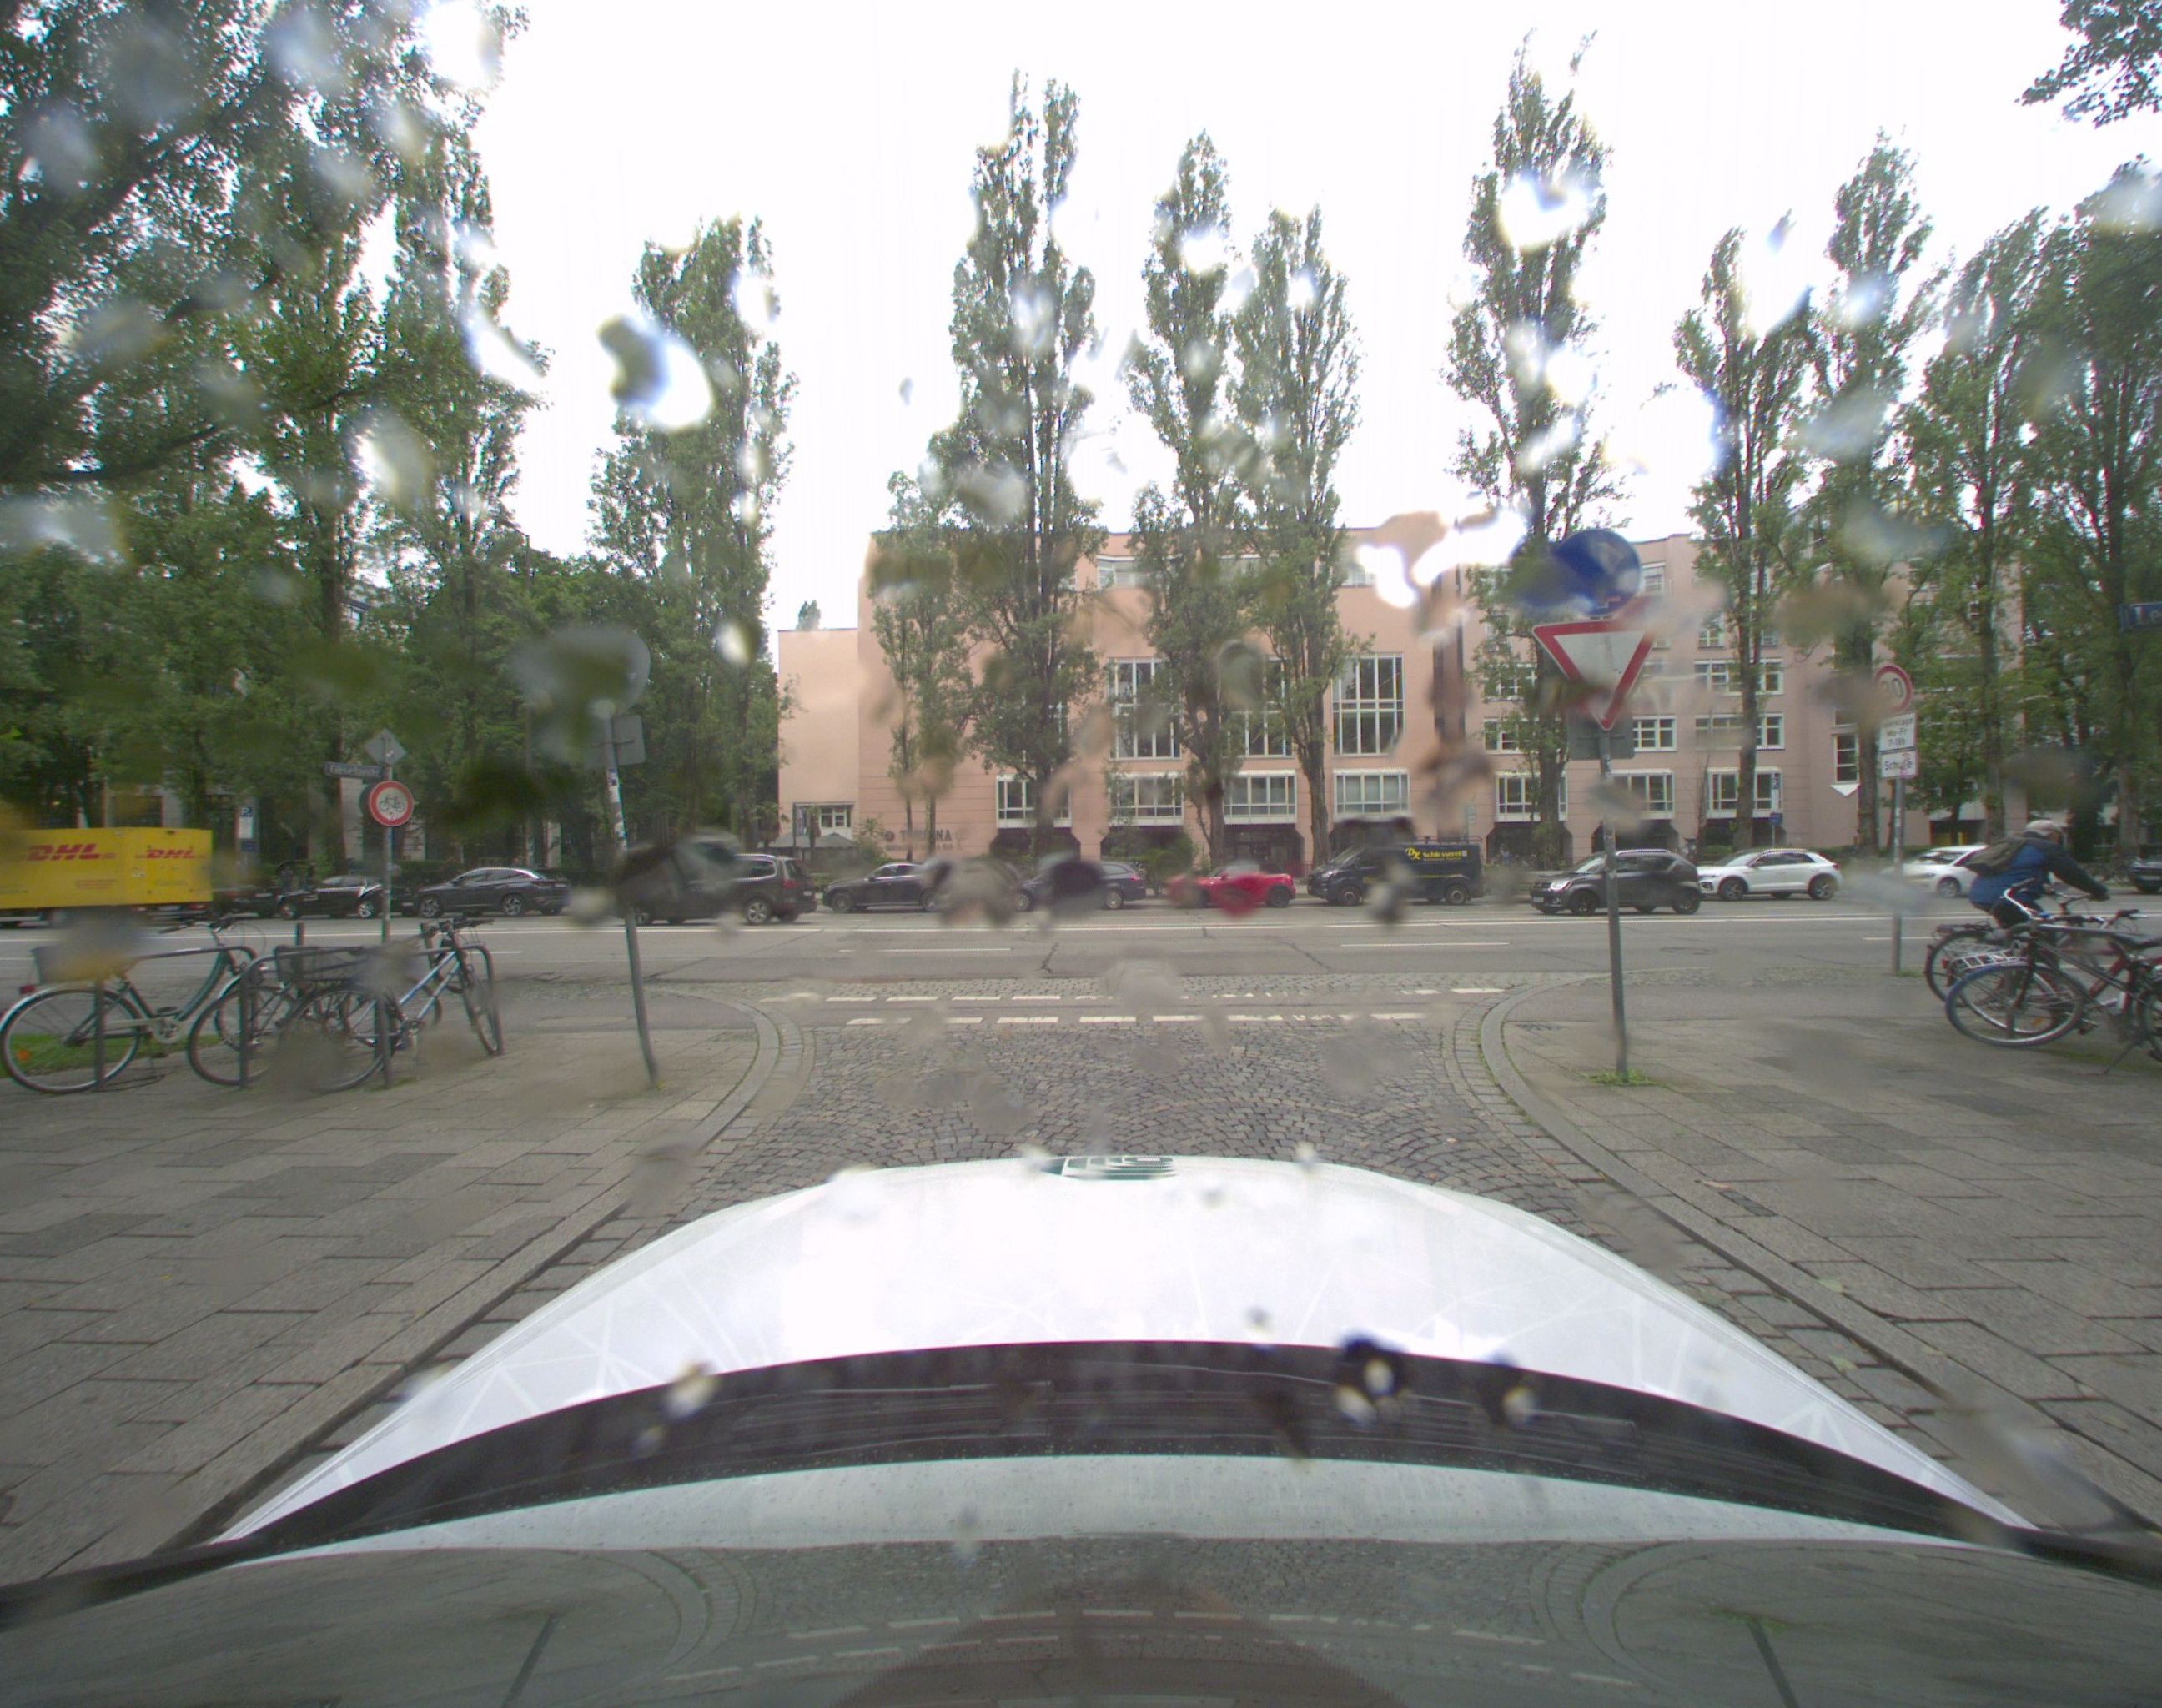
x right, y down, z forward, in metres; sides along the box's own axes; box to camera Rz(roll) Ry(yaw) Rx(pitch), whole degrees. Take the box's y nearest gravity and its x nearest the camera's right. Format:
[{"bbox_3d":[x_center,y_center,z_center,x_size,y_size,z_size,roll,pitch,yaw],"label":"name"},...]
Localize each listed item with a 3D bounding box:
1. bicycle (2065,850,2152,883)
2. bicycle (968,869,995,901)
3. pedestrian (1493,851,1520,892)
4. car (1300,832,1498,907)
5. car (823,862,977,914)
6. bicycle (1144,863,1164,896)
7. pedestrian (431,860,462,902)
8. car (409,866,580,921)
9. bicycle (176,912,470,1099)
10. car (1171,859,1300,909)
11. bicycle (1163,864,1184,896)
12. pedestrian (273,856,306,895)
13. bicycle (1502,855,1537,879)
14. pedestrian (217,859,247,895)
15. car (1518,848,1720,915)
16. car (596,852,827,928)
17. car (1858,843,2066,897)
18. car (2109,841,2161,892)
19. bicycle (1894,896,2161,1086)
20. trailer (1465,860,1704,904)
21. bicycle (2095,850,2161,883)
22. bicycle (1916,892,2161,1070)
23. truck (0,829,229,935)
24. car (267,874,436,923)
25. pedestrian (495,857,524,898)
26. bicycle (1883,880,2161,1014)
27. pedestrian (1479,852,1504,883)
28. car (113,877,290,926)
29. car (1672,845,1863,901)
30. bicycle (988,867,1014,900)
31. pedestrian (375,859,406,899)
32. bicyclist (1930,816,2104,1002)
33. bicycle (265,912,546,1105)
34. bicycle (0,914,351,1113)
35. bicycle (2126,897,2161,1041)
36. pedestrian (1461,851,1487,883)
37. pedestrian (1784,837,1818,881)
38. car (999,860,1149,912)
[{"bbox_3d":[36.942,0.443,29.325,0.671,1.124,1.990,-1,0,3],"label":"bicycle"},{"bbox_3d":[-3.698,1.132,30.396,0.671,1.124,1.990,-1,0,3],"label":"bicycle"},{"bbox_3d":[17.679,0.718,33.842,0.726,1.713,0.710,-1,0,3],"label":"pedestrian"},{"bbox_3d":[9.924,0.464,25.727,5.457,2.197,2.025,-1,0,2],"label":"car"},{"bbox_3d":[-5.727,1.059,26.158,4.482,1.529,1.794,-1,0,2],"label":"car"},{"bbox_3d":[2.692,0.933,30.191,0.671,1.124,1.743,-1,0,3],"label":"bicycle"},{"bbox_3d":[-26.806,1.138,34.434,0.726,1.713,0.710,-1,0,3],"label":"pedestrian"},{"bbox_3d":[-18.739,1.239,26.139,4.206,1.600,1.794,-1,0,2],"label":"car"},{"bbox_3d":[-5.617,1.053,6.194,0.487,1.093,1.706,-1,0,7],"label":"bicycle"},{"bbox_3d":[4.798,0.924,25.659,3.842,1.448,1.680,-1,0,4],"label":"car"},{"bbox_3d":[3.415,0.941,30.138,0.671,1.124,1.743,-1,0,3],"label":"bicycle"},{"bbox_3d":[-35.416,0.951,36.466,0.726,1.713,0.710,-2,0,3],"label":"pedestrian"},{"bbox_3d":[21.067,0.602,39.135,0.671,1.124,1.990,-1,0,3],"label":"bicycle"},{"bbox_3d":[-41.403,1.111,39.729,0.726,1.713,0.710,-1,0,3],"label":"pedestrian"},{"bbox_3d":[13.074,0.650,19.973,3.725,1.527,1.850,-1,-1,2],"label":"car"},{"bbox_3d":[-9.019,0.876,20.143,4.780,1.722,2.001,-1,-1,2],"label":"car"},{"bbox_3d":[27.172,0.470,25.236,4.296,1.542,2.000,-1,0,0],"label":"car"},{"bbox_3d":[35.113,0.362,25.057,4.292,1.542,2.002,-1,0,3],"label":"car"},{"bbox_3d":[6.587,0.847,5.378,0.473,1.050,1.874,-1,-1,-3],"label":"bicycle"},{"bbox_3d":[15.602,0.858,25.566,5.994,1.199,2.406,-1,0,3],"label":"trailer"},{"bbox_3d":[37.827,0.421,29.124,0.671,1.124,1.990,-1,0,3],"label":"bicycle"},{"bbox_3d":[7.248,0.860,5.944,0.472,1.050,1.878,-1,0,4],"label":"bicycle"},{"bbox_3d":[-30.029,0.808,24.101,7.028,2.907,2.603,-1,0,3],"label":"truck"},{"bbox_3d":[-23.526,1.418,26.350,3.854,1.412,1.794,-1,0,2],"label":"car"},{"bbox_3d":[-24.597,1.003,35.038,0.726,1.713,0.710,-1,0,3],"label":"pedestrian"},{"bbox_3d":[8.708,0.829,7.474,1.886,1.148,0.720,0,-3,4],"label":"bicycle"},{"bbox_3d":[18.071,0.586,35.851,0.726,1.369,0.710,-1,0,3],"label":"pedestrian"},{"bbox_3d":[-28.692,1.529,26.655,3.854,1.412,1.794,-1,0,2],"label":"car"},{"bbox_3d":[20.992,0.587,25.049,4.201,1.542,1.808,-1,-1,4],"label":"car"},{"bbox_3d":[-2.961,1.073,30.345,0.671,1.124,1.990,-1,0,3],"label":"bicycle"},{"bbox_3d":[-29.987,1.089,35.358,0.726,1.713,0.710,-1,0,3],"label":"pedestrian"},{"bbox_3d":[8.548,0.479,7.474,0.751,1.619,0.725,-1,0,2],"label":"bicyclist"},{"bbox_3d":[-4.846,1.039,6.011,0.487,1.093,1.706,-1,0,7],"label":"bicycle"},{"bbox_3d":[-6.708,1.074,6.106,0.487,1.093,1.988,-1,0,7],"label":"bicycle"},{"bbox_3d":[8.142,0.838,5.244,0.472,1.050,1.878,-1,-1,4],"label":"bicycle"},{"bbox_3d":[17.118,0.563,35.479,0.711,1.369,0.725,-1,0,-27],"label":"pedestrian"},{"bbox_3d":[28.915,0.197,32.720,0.726,1.713,0.710,-1,0,3],"label":"pedestrian"},{"bbox_3d":[-0.186,0.999,25.981,4.590,1.529,1.794,-1,0,2],"label":"car"}]
